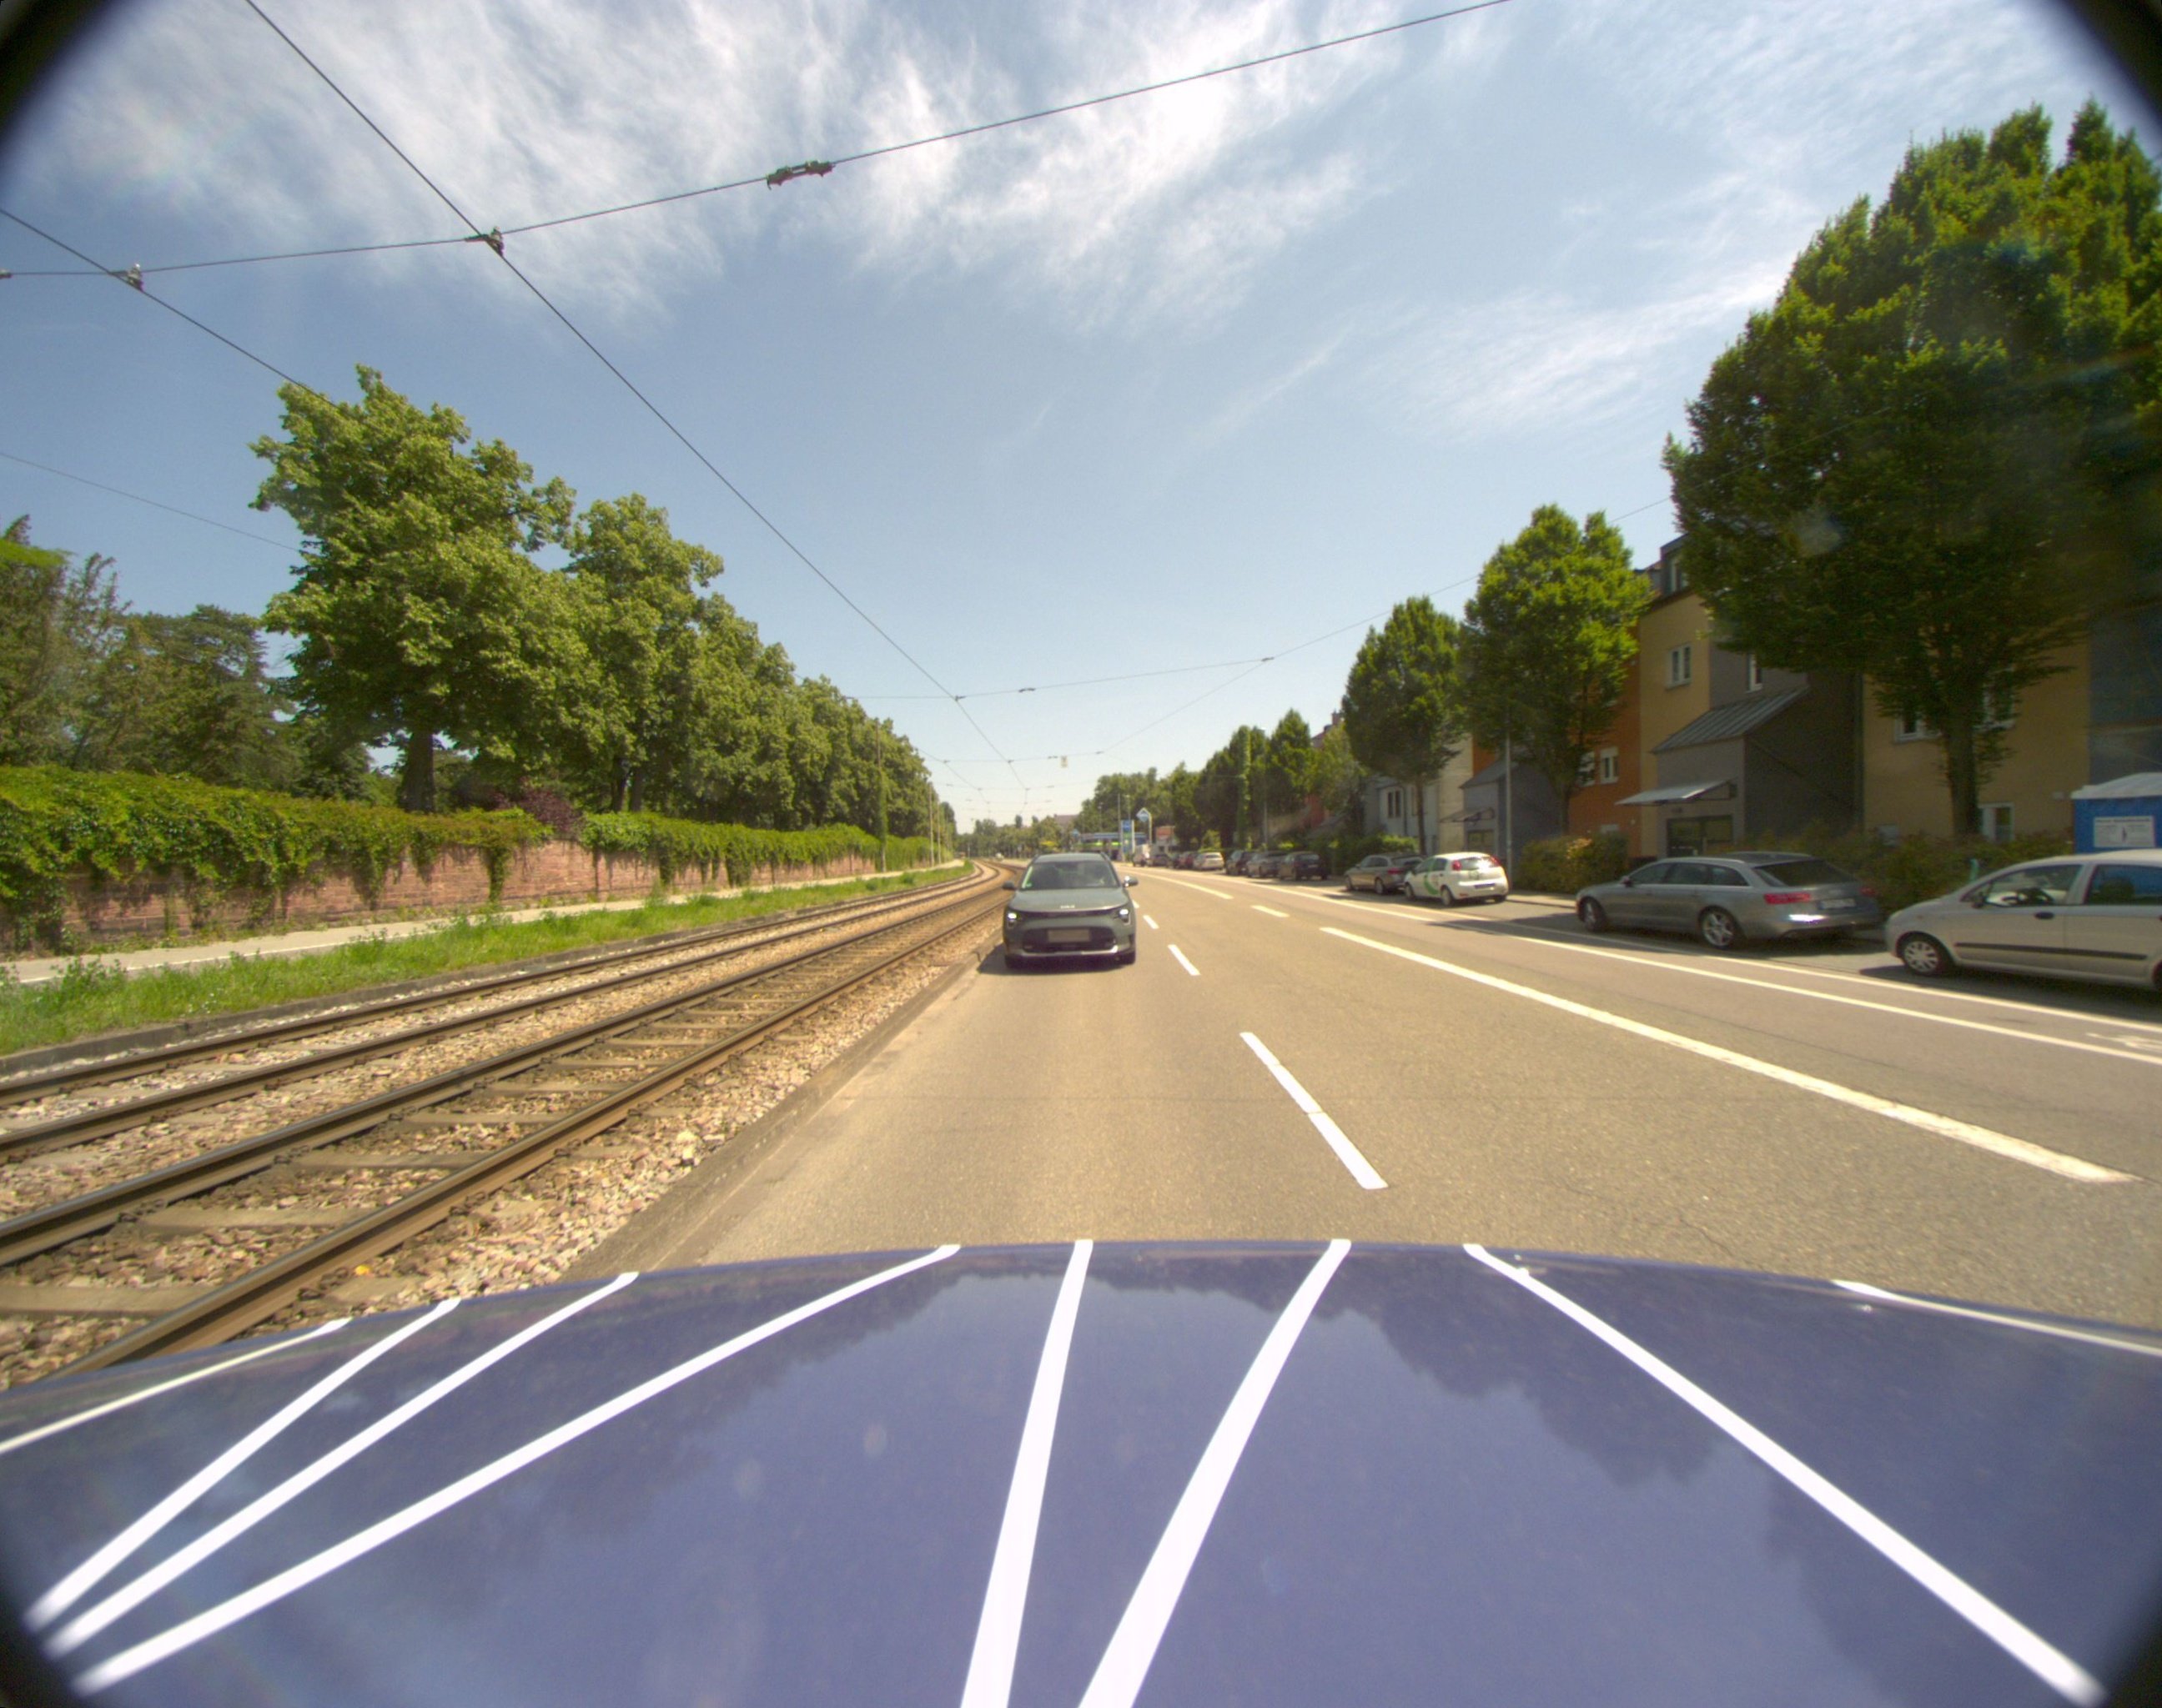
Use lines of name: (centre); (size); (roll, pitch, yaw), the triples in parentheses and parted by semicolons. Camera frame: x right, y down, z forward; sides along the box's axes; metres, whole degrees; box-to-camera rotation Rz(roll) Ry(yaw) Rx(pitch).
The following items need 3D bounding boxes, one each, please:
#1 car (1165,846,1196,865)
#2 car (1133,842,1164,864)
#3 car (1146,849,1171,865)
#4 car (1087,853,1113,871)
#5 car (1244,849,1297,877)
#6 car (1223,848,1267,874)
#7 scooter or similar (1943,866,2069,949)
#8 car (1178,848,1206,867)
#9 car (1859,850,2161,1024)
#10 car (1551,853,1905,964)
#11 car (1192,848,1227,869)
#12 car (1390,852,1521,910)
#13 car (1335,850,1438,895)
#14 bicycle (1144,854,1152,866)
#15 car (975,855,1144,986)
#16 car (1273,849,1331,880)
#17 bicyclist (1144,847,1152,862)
car: (9.594, 0.127, 73.380); (1.999, 1.784, 4.556); (-2, 1, -5)
car: (7.786, -0.105, 88.316); (2.285, 2.295, 5.226); (-3, 0, -8)
car: (8.361, 0.327, 82.263); (1.870, 1.528, 4.142); (-3, 0, -4)
car: (1.601, 0.628, 64.479); (1.695, 1.403, 3.513); (-3, 0, -6)
car: (11.187, 0.494, 45.136); (1.830, 1.487, 4.756); (-3, 0, -1)
car: (10.945, 0.430, 50.957); (1.772, 1.580, 4.147); (-3, 0, -3)
scooter or similar: (13.640, 0.762, 11.241); (0.455, 1.139, 1.183); (-1, 1, 3)
car: (9.907, 0.330, 68.172); (1.604, 1.584, 3.680); (-3, 0, -5)
car: (10.928, 0.776, 8.132); (1.597, 1.487, 3.448); (-6, 0, 1)
car: (10.879, 0.803, 13.480); (1.791, 1.441, 5.133); (-5, 0, 0)
car: (10.499, 0.334, 62.279); (1.845, 1.573, 4.495); (-3, 0, -2)
car: (11.324, 0.732, 23.339); (1.750, 1.434, 4.420); (-6, 0, 1)
car: (11.423, 0.641, 28.809); (1.708, 1.421, 4.750); (-6, 0, -2)
bicycle: (6.701, 0.584, 75.879); (0.641, 1.089, 1.638); (1, 1, 1)
car: (-0.161, 0.853, 11.637); (2.062, 1.534, 4.001); (-3, 0, 3)
car: (11.501, 0.522, 39.846); (1.754, 1.424, 4.256); (-3, 0, 0)
bicyclist: (6.700, 0.052, 75.821); (0.737, 1.496, 0.736); (1, 2, 1)
